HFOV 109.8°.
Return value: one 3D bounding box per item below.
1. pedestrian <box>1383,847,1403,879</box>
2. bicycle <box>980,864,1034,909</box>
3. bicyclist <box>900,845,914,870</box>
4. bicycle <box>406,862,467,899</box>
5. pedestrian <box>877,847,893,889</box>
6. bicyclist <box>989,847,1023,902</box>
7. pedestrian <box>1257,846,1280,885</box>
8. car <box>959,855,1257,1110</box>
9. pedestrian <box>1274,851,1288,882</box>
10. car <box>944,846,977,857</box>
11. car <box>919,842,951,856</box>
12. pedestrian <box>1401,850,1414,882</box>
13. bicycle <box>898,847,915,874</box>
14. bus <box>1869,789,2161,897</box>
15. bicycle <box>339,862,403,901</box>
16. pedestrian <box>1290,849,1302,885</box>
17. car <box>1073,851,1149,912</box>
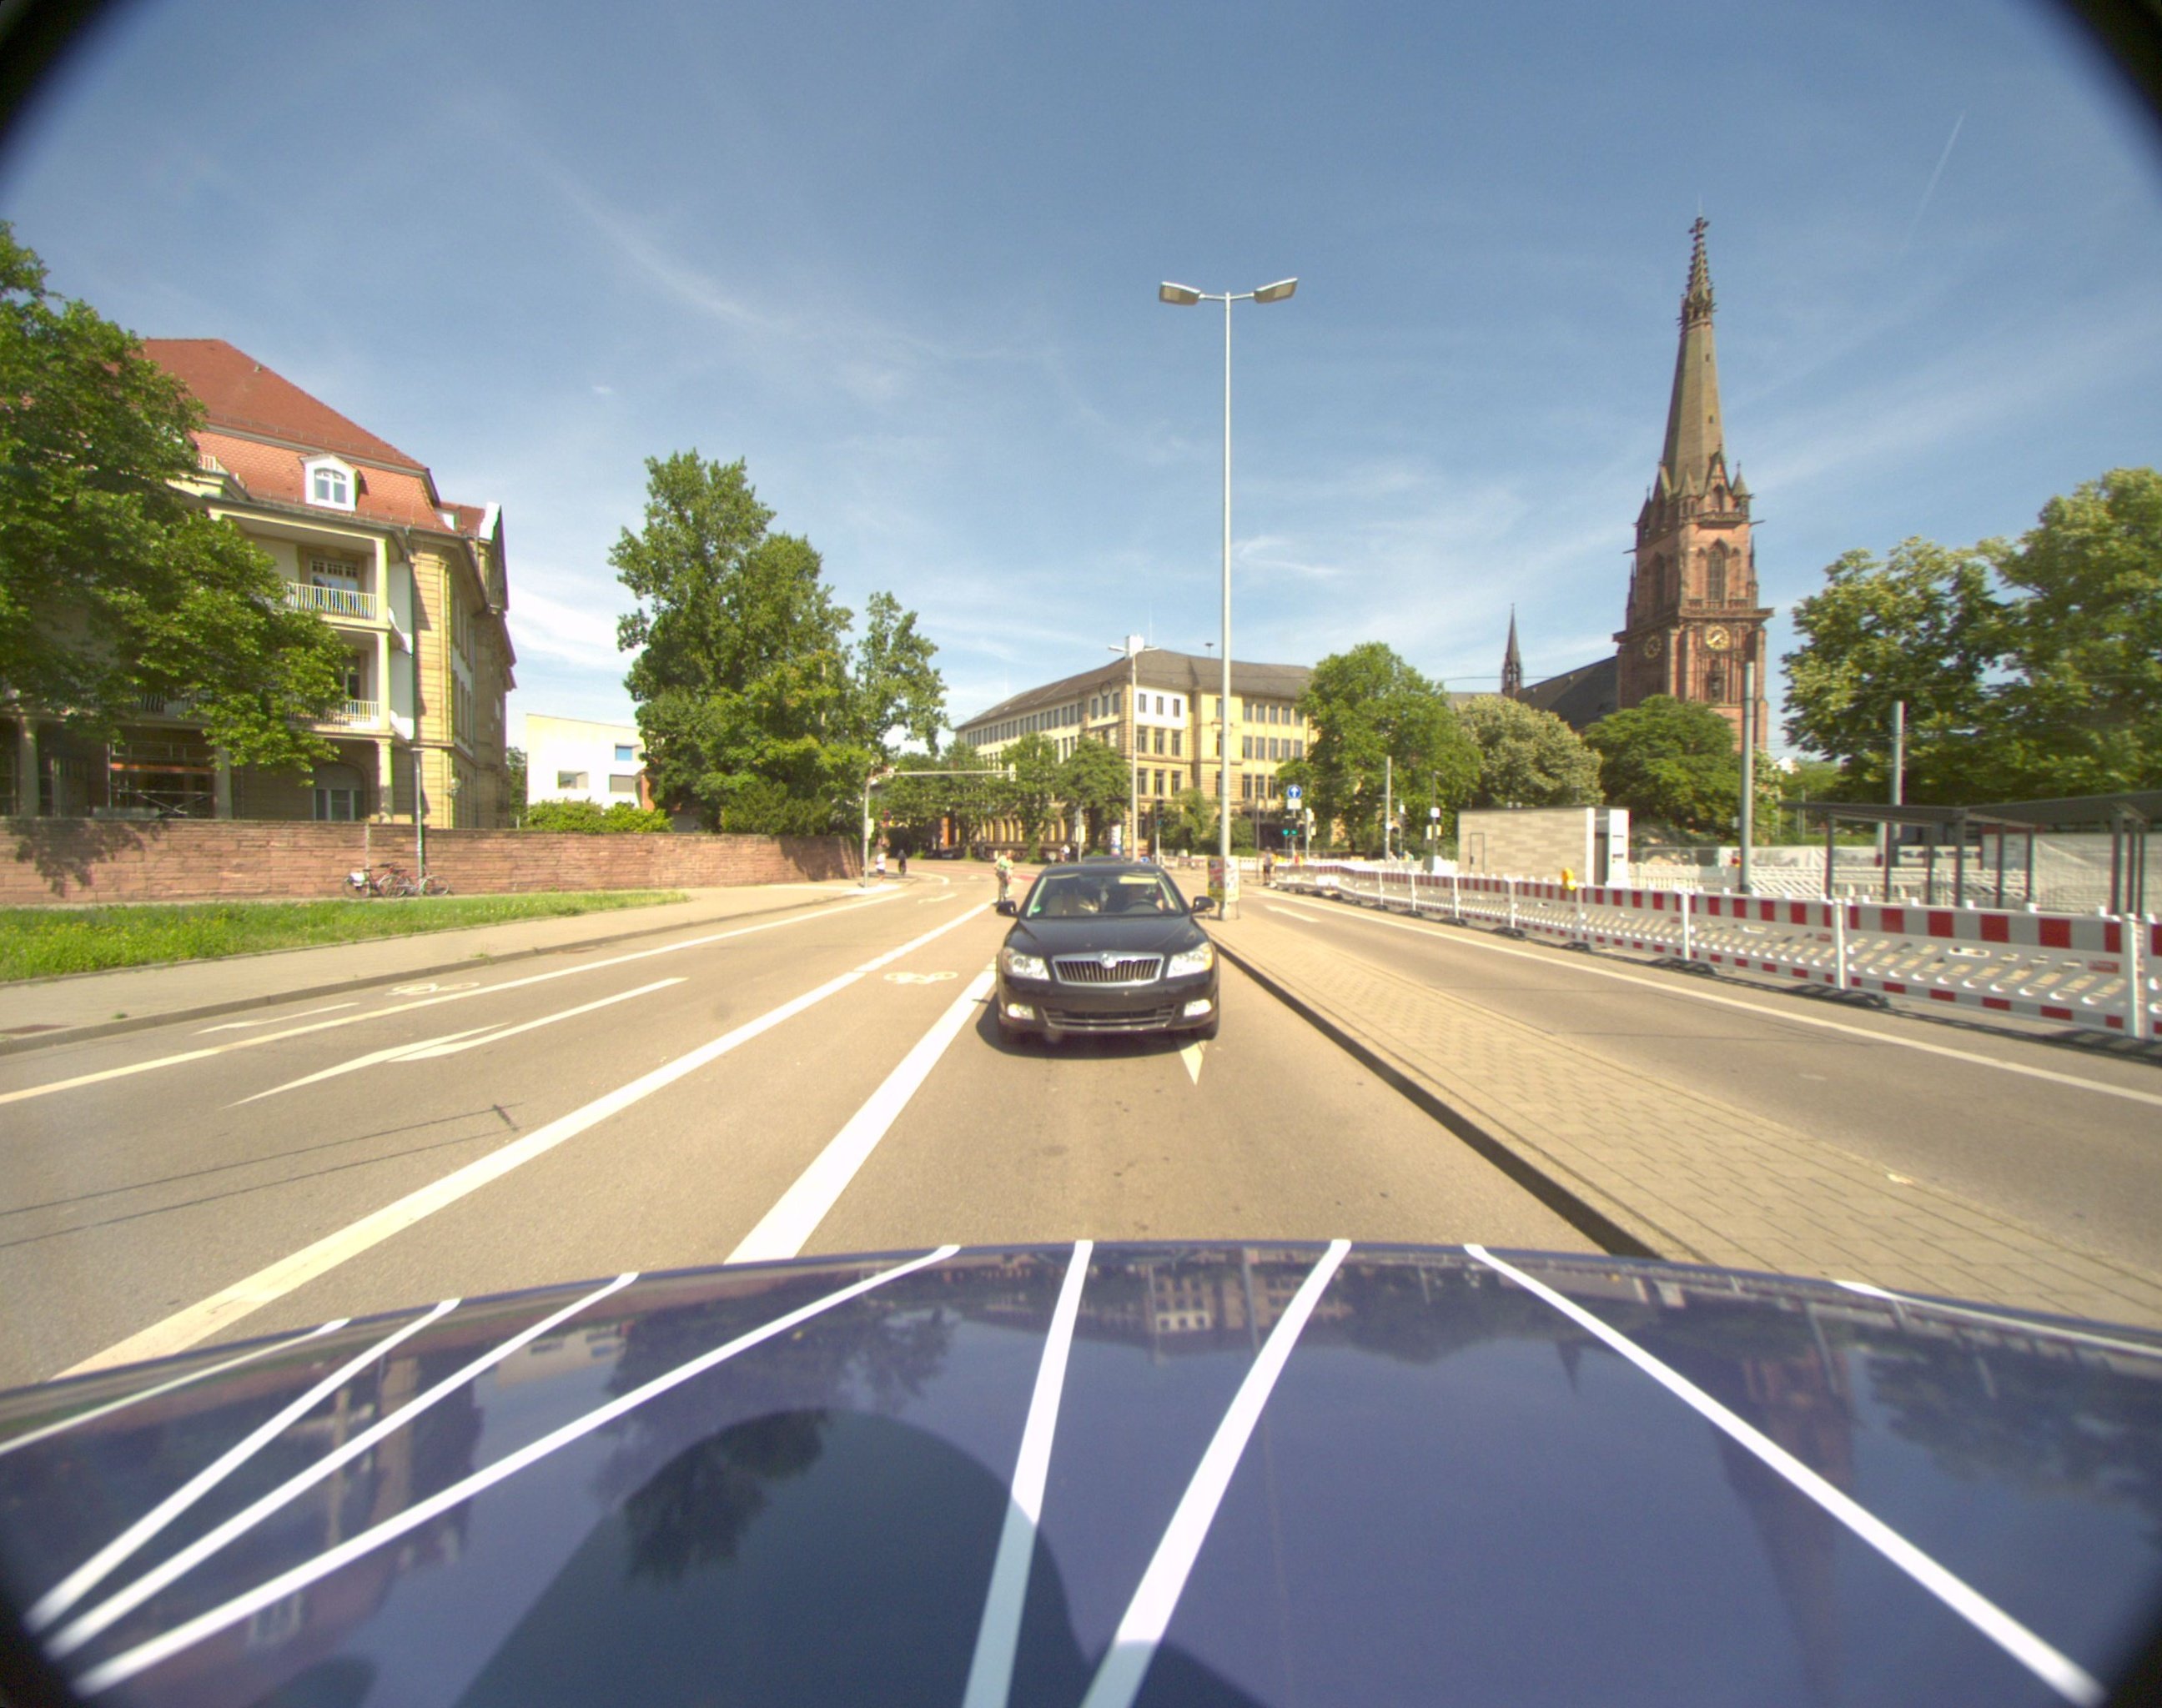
[{"bbox_3d":[15.929,0.441,38.768,0.795,1.606,0.660,-1,1,-40],"label":"pedestrian"},{"bbox_3d":[-2.213,0.926,22.396,0.687,1.215,2.181,0,1,-32],"label":"bicycle"},{"bbox_3d":[-11.588,0.199,50.587,0.680,1.646,0.919,1,1,1],"label":"bicyclist"},{"bbox_3d":[-20.457,0.828,24.150,0.348,1.116,1.438,1,1,35],"label":"bicycle"},{"bbox_3d":[-8.957,0.624,34.697,0.654,1.863,0.795,2,1,-18],"label":"pedestrian"},{"bbox_3d":[-2.210,0.580,22.339,0.589,1.539,0.929,-3,2,-31],"label":"bicyclist"},{"bbox_3d":[8.906,0.542,36.085,0.839,1.802,0.651,0,1,43],"label":"pedestrian"},{"bbox_3d":[0.230,0.829,7.261,1.864,1.510,4.827,-2,1,1],"label":"car"},{"bbox_3d":[10.160,0.615,38.628,0.422,1.534,0.669,-2,1,34],"label":"pedestrian"},{"bbox_3d":[-16.548,-0.311,104.307,4.008,1.455,1.994,0,1,-35],"label":"car"},{"bbox_3d":[-20.834,-0.747,108.274,4.008,2.002,1.994,0,1,-35],"label":"car"},{"bbox_3d":[16.933,0.620,39.347,0.584,1.606,0.690,0,1,26],"label":"pedestrian"},{"bbox_3d":[-11.586,0.417,50.576,0.680,1.755,1.811,1,1,1],"label":"bicycle"},{"bbox_3d":[35.848,-0.348,25.540,2.867,3.469,12.624,0,1,-34],"label":"bus"},{"bbox_3d":[-21.395,0.804,22.930,0.348,1.116,1.437,1,1,15],"label":"bicycle"},{"bbox_3d":[9.734,0.583,34.419,0.350,1.606,0.686,0,1,2],"label":"pedestrian"},{"bbox_3d":[0.688,0.649,20.135,1.802,1.368,4.275,-1,1,-1],"label":"car"}]
